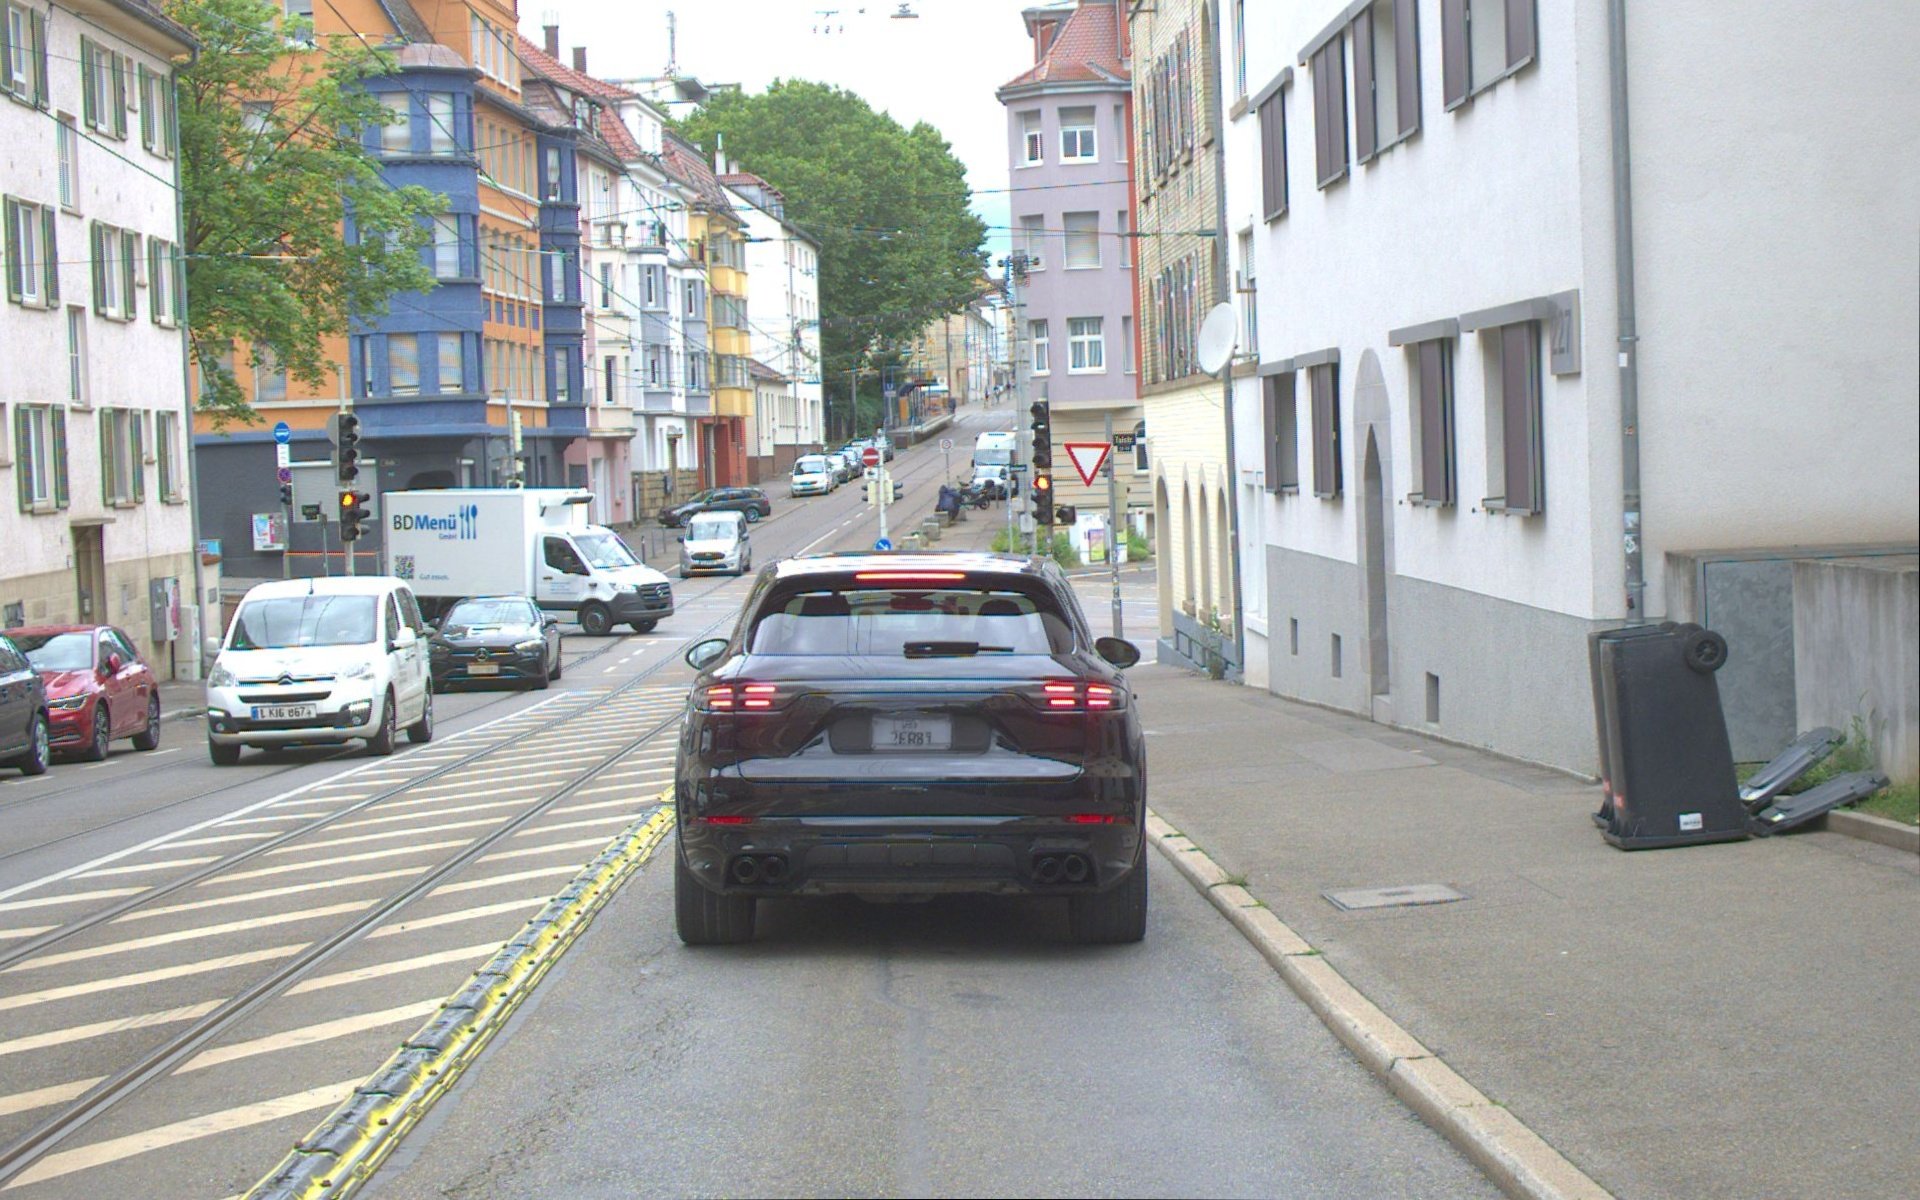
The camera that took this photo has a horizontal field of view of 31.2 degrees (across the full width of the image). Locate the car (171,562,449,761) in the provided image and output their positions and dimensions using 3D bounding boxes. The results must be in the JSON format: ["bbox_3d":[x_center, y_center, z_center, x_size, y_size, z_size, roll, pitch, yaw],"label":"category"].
[{"bbox_3d":[-6.456,0.561,34.586,1.921,1.812,4.217,-2,1,0],"label":"car"}]

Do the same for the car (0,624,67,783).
[{"bbox_3d":[-9.661,0.994,31.851,1.736,1.405,4.000,-2,1,-1],"label":"car"}]

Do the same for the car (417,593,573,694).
[{"bbox_3d":[-7.291,0.659,54.275,1.921,1.419,4.498,-2,1,-2],"label":"car"}]

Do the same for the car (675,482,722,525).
[{"bbox_3d":[-9.389,-3.472,123.742,1.394,1.445,3.359,-2,1,0],"label":"car"}]

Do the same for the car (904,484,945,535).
[{"bbox_3d":[-1.284,-3.249,124.124,1.394,1.716,3.359,-2,1,0],"label":"car"}]

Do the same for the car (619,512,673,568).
[{"bbox_3d":[-10.125,-1.916,110.883,1.394,1.716,3.359,-2,1,0],"label":"car"}]

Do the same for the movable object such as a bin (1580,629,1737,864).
[{"bbox_3d":[3.352,0.693,16.540,0.588,1.076,0.692,-2,0,1],"label":"movable object such as a bin"}]

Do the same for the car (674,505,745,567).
[{"bbox_3d":[-7.409,-1.883,101.900,1.751,1.754,4.254,-2,1,0],"label":"car"}]

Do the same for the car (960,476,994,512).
[{"bbox_3d":[0.732,-4.617,149.471,1.394,1.445,3.359,-2,1,0],"label":"car"}]

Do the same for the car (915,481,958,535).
[{"bbox_3d":[-0.803,-3.125,117.372,1.394,1.716,3.359,-2,1,0],"label":"car"}]

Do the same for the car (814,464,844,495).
[{"bbox_3d":[-6.659,-6.139,174.773,1.394,1.445,3.359,-2,1,0],"label":"car"}]

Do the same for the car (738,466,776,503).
[{"bbox_3d":[-8.585,-4.867,145.382,1.394,1.445,3.359,-2,1,0],"label":"car"}]

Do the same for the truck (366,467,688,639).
[{"bbox_3d":[-9.185,-0.981,72.845,6.389,3.359,2.344,-2,1,25],"label":"truck"}]

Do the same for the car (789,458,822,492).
[{"bbox_3d":[-7.250,-5.854,161.353,1.394,1.445,3.359,-2,1,0],"label":"car"}]

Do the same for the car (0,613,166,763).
[{"bbox_3d":[-9.838,0.927,37.244,1.620,1.485,4.047,-3,0,-2],"label":"car"}]

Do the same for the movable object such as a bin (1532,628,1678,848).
[{"bbox_3d":[3.285,0.695,17.547,0.611,1.076,0.541,-2,0,1],"label":"movable object such as a bin"}]

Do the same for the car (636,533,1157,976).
[{"bbox_3d":[-0.297,0.587,15.549,1.993,1.670,4.000,-2,1,-1],"label":"car"}]
